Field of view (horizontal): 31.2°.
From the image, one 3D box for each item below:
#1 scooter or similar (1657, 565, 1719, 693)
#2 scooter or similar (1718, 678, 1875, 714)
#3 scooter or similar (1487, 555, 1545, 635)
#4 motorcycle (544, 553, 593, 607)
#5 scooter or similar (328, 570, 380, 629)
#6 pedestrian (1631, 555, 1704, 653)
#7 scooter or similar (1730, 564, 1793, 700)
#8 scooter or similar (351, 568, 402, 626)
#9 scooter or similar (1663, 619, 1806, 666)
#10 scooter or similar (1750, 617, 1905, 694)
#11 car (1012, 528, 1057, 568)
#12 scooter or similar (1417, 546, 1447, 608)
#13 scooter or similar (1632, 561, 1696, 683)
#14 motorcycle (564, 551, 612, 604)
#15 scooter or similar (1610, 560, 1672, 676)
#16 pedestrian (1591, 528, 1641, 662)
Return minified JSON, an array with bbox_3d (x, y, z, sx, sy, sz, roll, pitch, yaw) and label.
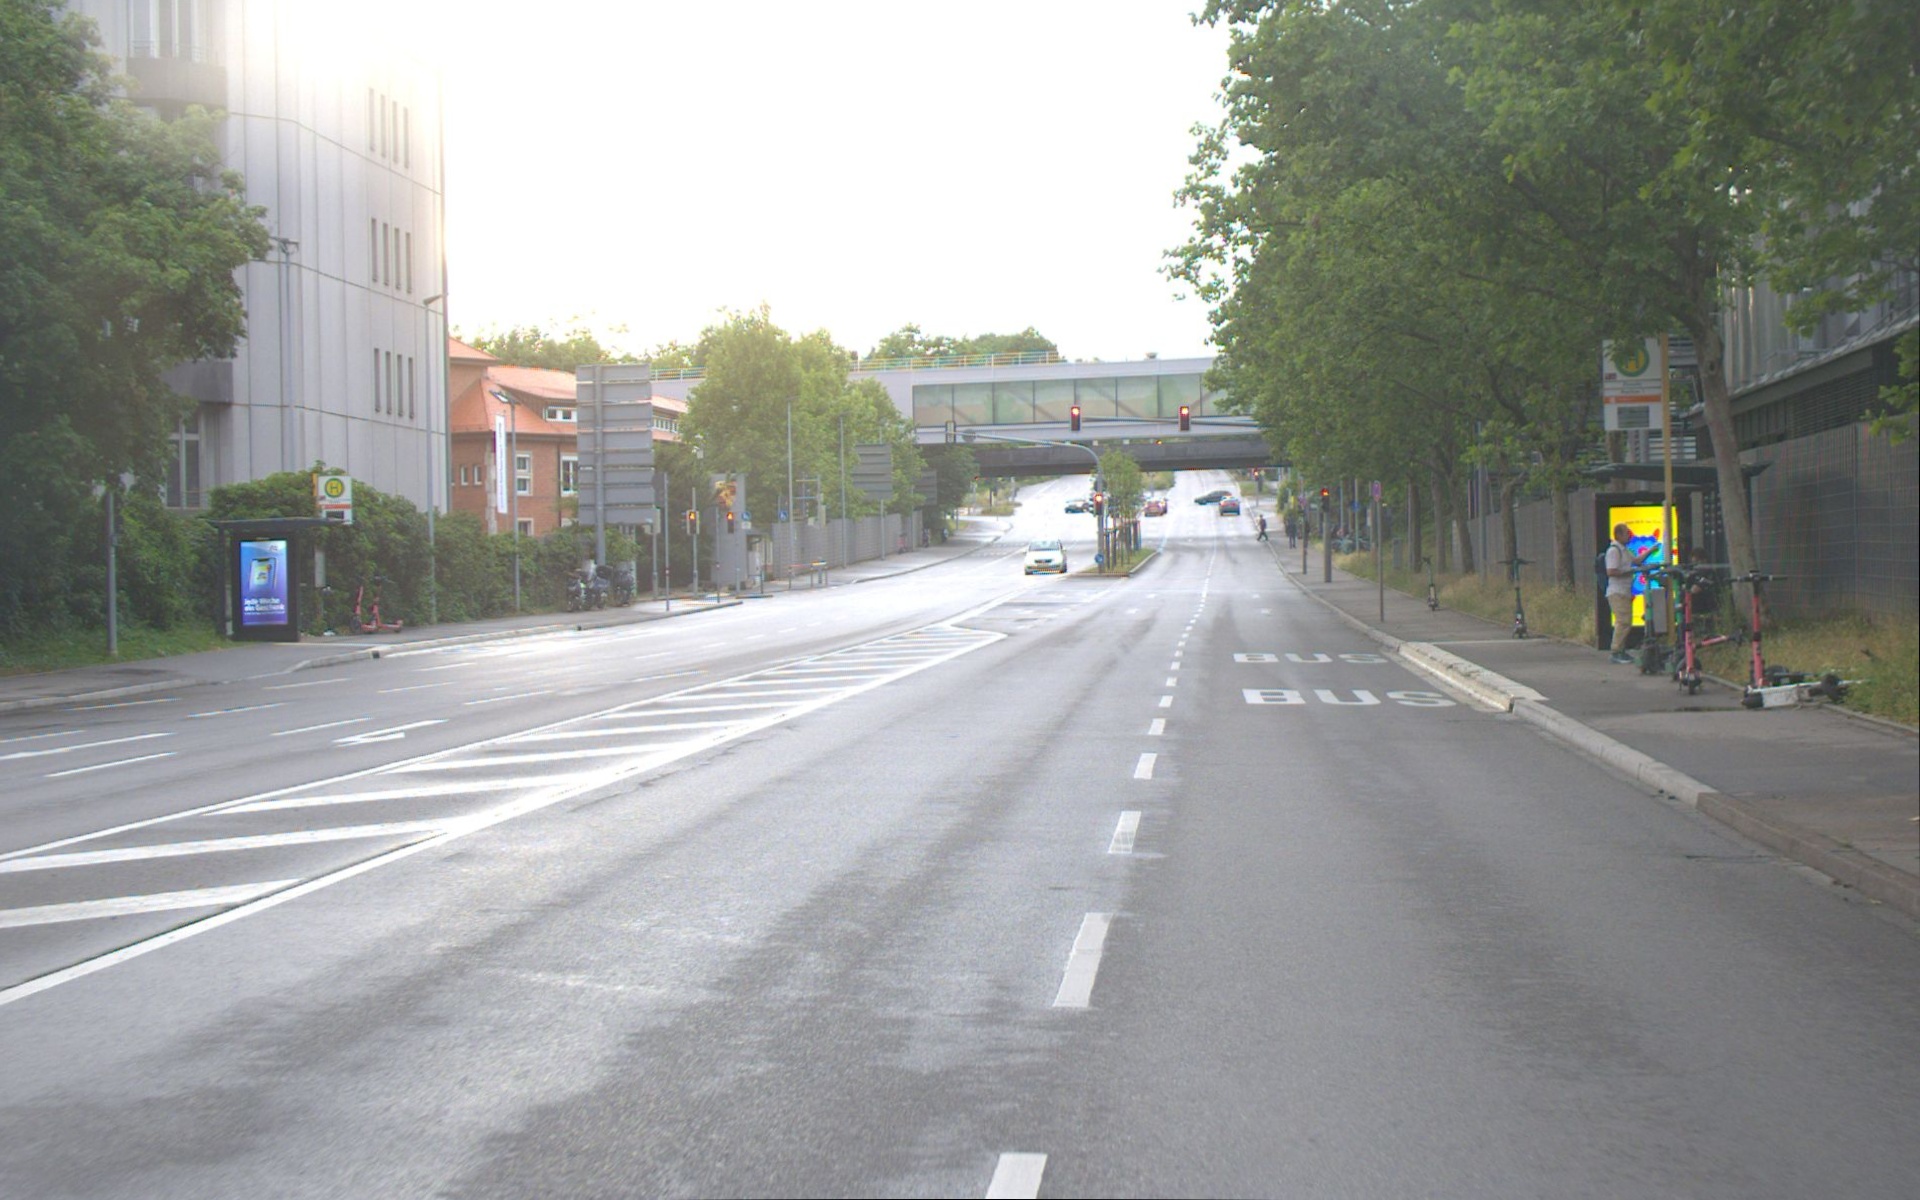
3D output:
[{"bbox_3d":[7.440,0.290,35.160,0.433,1.266,1.194,-1,1,4],"label":"scooter or similar"},{"bbox_3d":[7.421,0.849,30.564,0.652,0.245,1.525,-2,1,-18],"label":"scooter or similar"},{"bbox_3d":[8.937,-0.097,55.213,0.699,1.240,1.920,-1,1,16],"label":"scooter or similar"},{"bbox_3d":[-11.431,-0.587,100.466,0.913,1.527,3.299,-1,1,2],"label":"motorcycle"},{"bbox_3d":[-13.144,-0.024,74.557,0.525,1.248,1.798,-1,1,9],"label":"scooter or similar"},{"bbox_3d":[9.688,0.049,47.089,0.951,1.312,0.685,-1,1,11],"label":"pedestrian"},{"bbox_3d":[7.463,0.287,32.032,0.388,1.222,1.073,-1,1,4],"label":"scooter or similar"},{"bbox_3d":[-13.016,-0.073,76.723,0.497,1.248,1.920,-1,1,9],"label":"scooter or similar"},{"bbox_3d":[9.171,0.501,40.689,1.563,0.517,0.643,-1,1,21],"label":"scooter or similar"},{"bbox_3d":[8.663,0.546,34.364,0.652,0.711,1.525,-2,1,-27],"label":"scooter or similar"},{"bbox_3d":[3.365,-2.353,155.893,1.993,1.766,4.000,-1,1,1],"label":"car"},{"bbox_3d":[10.643,-0.520,77.466,0.609,1.361,1.920,-1,1,9],"label":"scooter or similar"},{"bbox_3d":[7.664,0.228,37.457,0.475,1.288,1.433,-1,1,4],"label":"scooter or similar"},{"bbox_3d":[-11.255,-0.694,104.202,0.959,1.550,3.299,-1,1,2],"label":"motorcycle"},{"bbox_3d":[7.832,0.198,39.591,0.503,1.288,1.433,-1,1,4],"label":"scooter or similar"},{"bbox_3d":[8.242,-0.064,43.203,0.481,1.661,0.662,-1,1,2],"label":"pedestrian"}]
